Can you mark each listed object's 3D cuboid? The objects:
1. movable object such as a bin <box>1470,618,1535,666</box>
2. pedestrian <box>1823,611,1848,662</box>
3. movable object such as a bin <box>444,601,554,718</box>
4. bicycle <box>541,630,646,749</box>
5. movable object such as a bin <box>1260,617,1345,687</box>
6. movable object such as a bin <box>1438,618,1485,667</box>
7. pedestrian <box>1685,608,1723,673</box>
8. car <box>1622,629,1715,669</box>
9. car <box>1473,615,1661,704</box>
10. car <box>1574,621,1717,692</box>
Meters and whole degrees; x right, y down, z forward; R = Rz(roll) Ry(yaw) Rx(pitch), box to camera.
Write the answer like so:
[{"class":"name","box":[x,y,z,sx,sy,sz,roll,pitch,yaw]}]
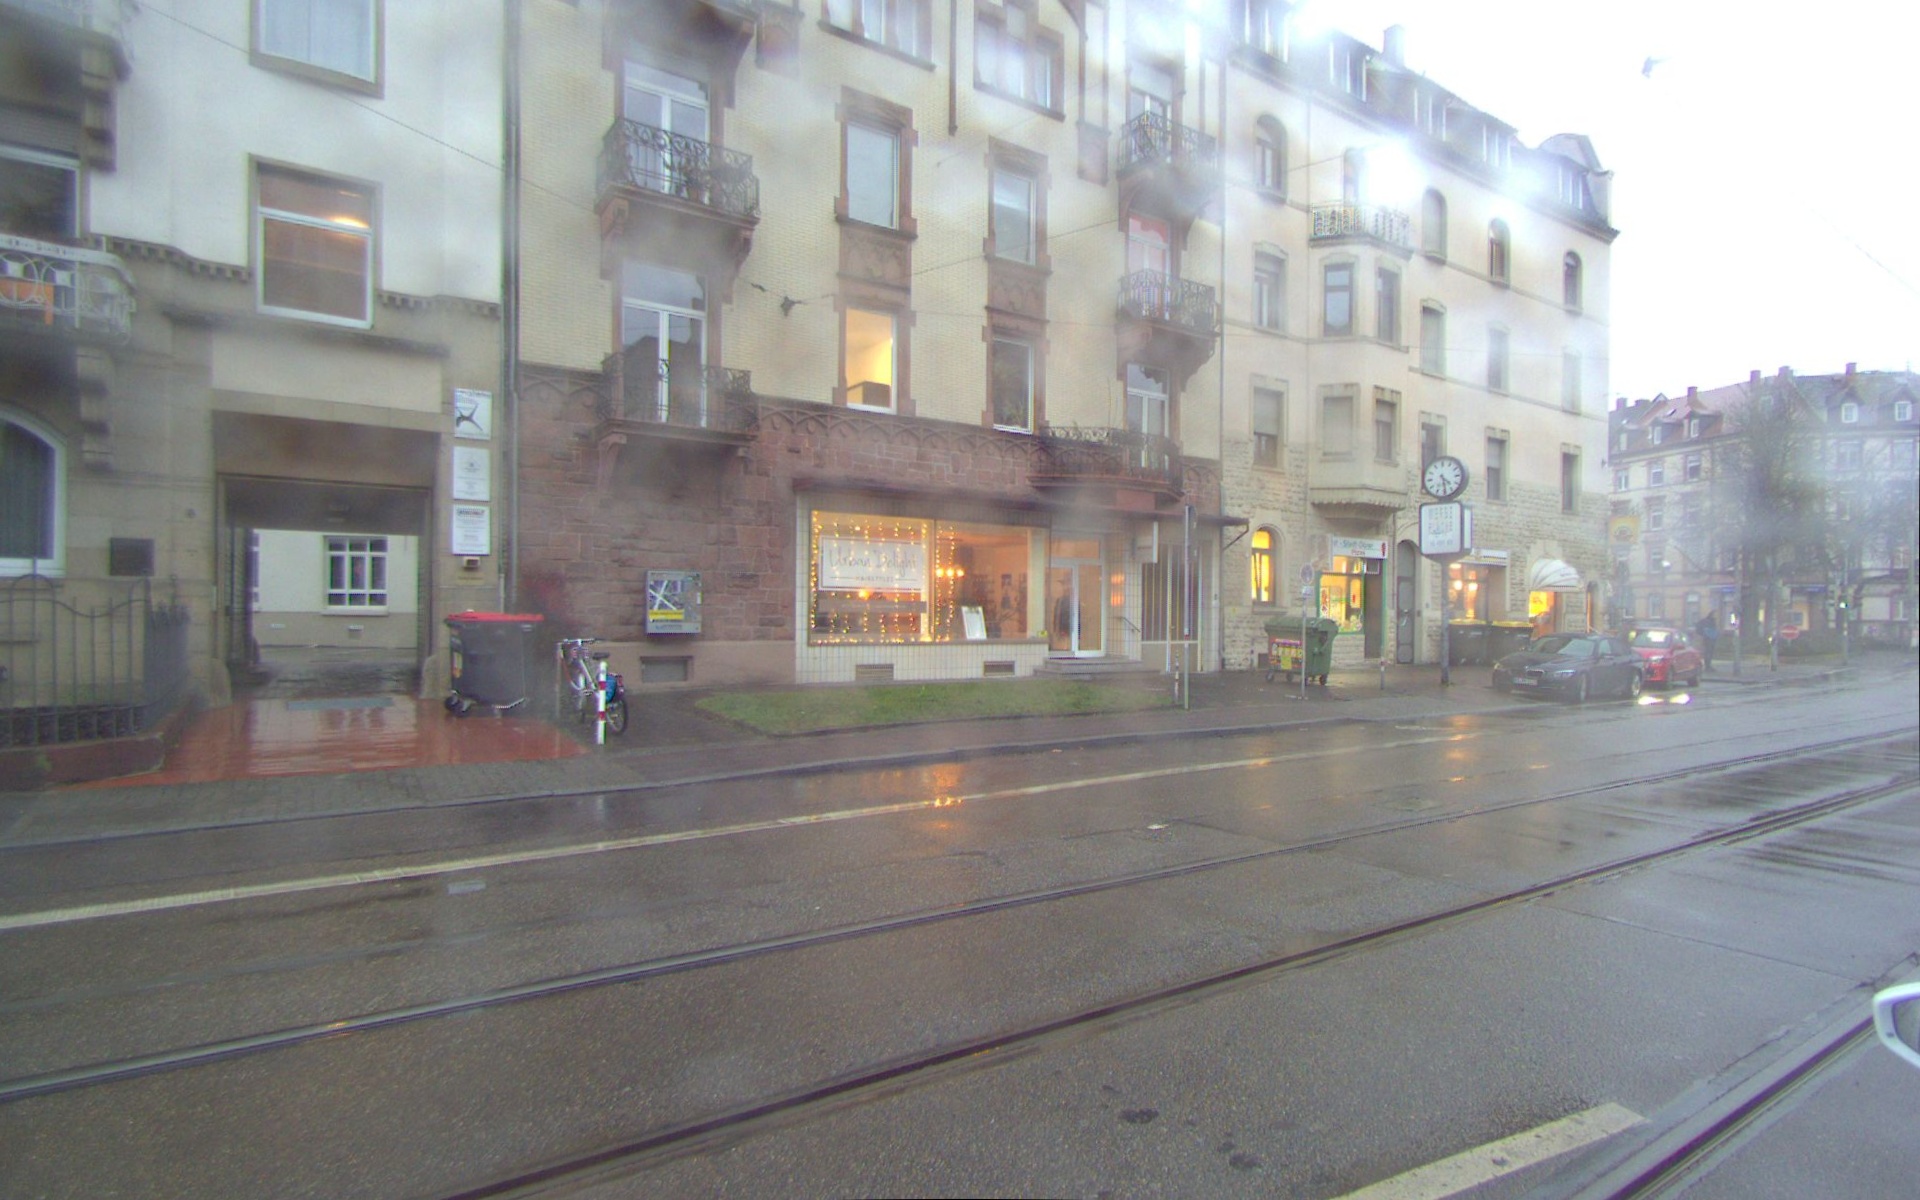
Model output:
[{"class":"movable object such as a bin","box":[16.356,1.261,30.297,1.239,1.385,1.286,1,0,-34]},{"class":"pedestrian","box":[35.424,1.450,40.634,0.695,2.040,0.658,0,0,37]},{"class":"movable object such as a bin","box":[-6.047,0.743,13.153,1.155,1.398,1.096,1,2,-32]},{"class":"bicycle","box":[-4.338,0.985,11.770,0.687,1.120,2.336,1,1,-32]},{"class":"movable object such as a bin","box":[7.452,1.107,21.900,1.236,1.439,1.260,1,0,-33]},{"class":"movable object such as a bin","box":[14.945,1.258,29.940,0.996,1.396,0.893,1,0,-33]},{"class":"pedestrian","box":[23.770,1.293,32.089,0.635,2.040,0.758,1,0,3]},{"class":"car","box":[33.315,2.280,47.376,1.981,1.695,4.003,1,-1,9]},{"class":"car","box":[13.891,1.307,22.917,4.587,1.667,1.972,2,3,-37]},{"class":"car","box":[18.290,1.431,26.768,3.997,1.573,2.021,0,3,-39]}]
